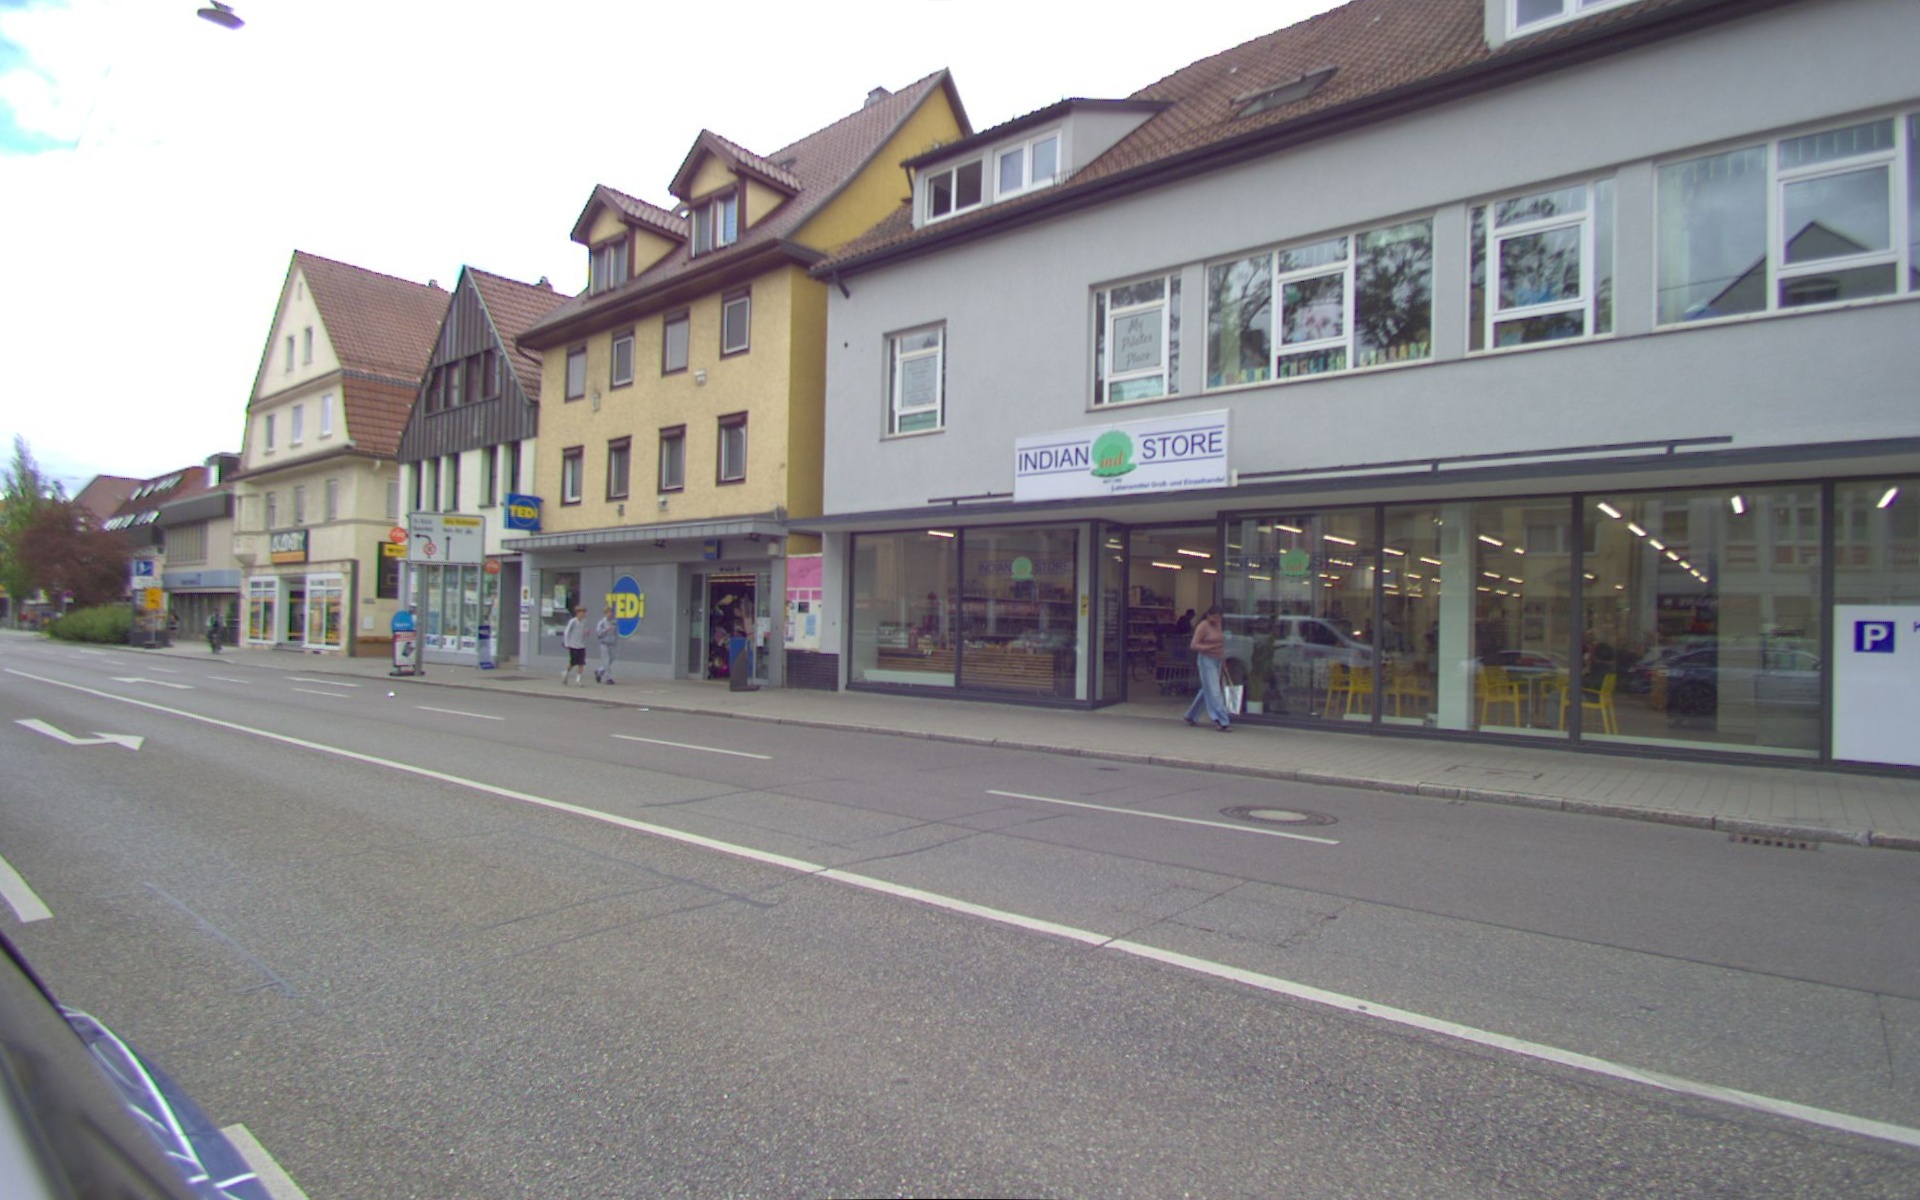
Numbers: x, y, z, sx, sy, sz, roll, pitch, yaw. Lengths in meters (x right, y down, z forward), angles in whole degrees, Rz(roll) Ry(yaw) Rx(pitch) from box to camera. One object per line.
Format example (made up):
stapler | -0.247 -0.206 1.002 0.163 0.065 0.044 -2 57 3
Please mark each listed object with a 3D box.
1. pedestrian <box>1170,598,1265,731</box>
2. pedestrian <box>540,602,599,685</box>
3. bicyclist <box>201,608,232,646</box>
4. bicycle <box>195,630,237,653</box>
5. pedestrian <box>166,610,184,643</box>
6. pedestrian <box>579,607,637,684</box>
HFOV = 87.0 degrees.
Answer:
pedestrian | 3.416 0.821 13.394 0.871 1.679 0.988 -1 -1 41
pedestrian | -8.144 0.900 21.093 0.920 1.674 0.801 -1 -2 41
bicyclist | -28.367 1.030 38.619 0.751 1.434 0.763 -1 -2 40
bicycle | -28.375 1.579 38.594 2.238 0.829 0.763 -1 -2 40
pedestrian | -45.455 1.521 58.589 0.678 1.917 0.665 -1 -2 40
pedestrian | -7.576 0.967 21.781 0.920 1.595 0.801 -1 -2 41
